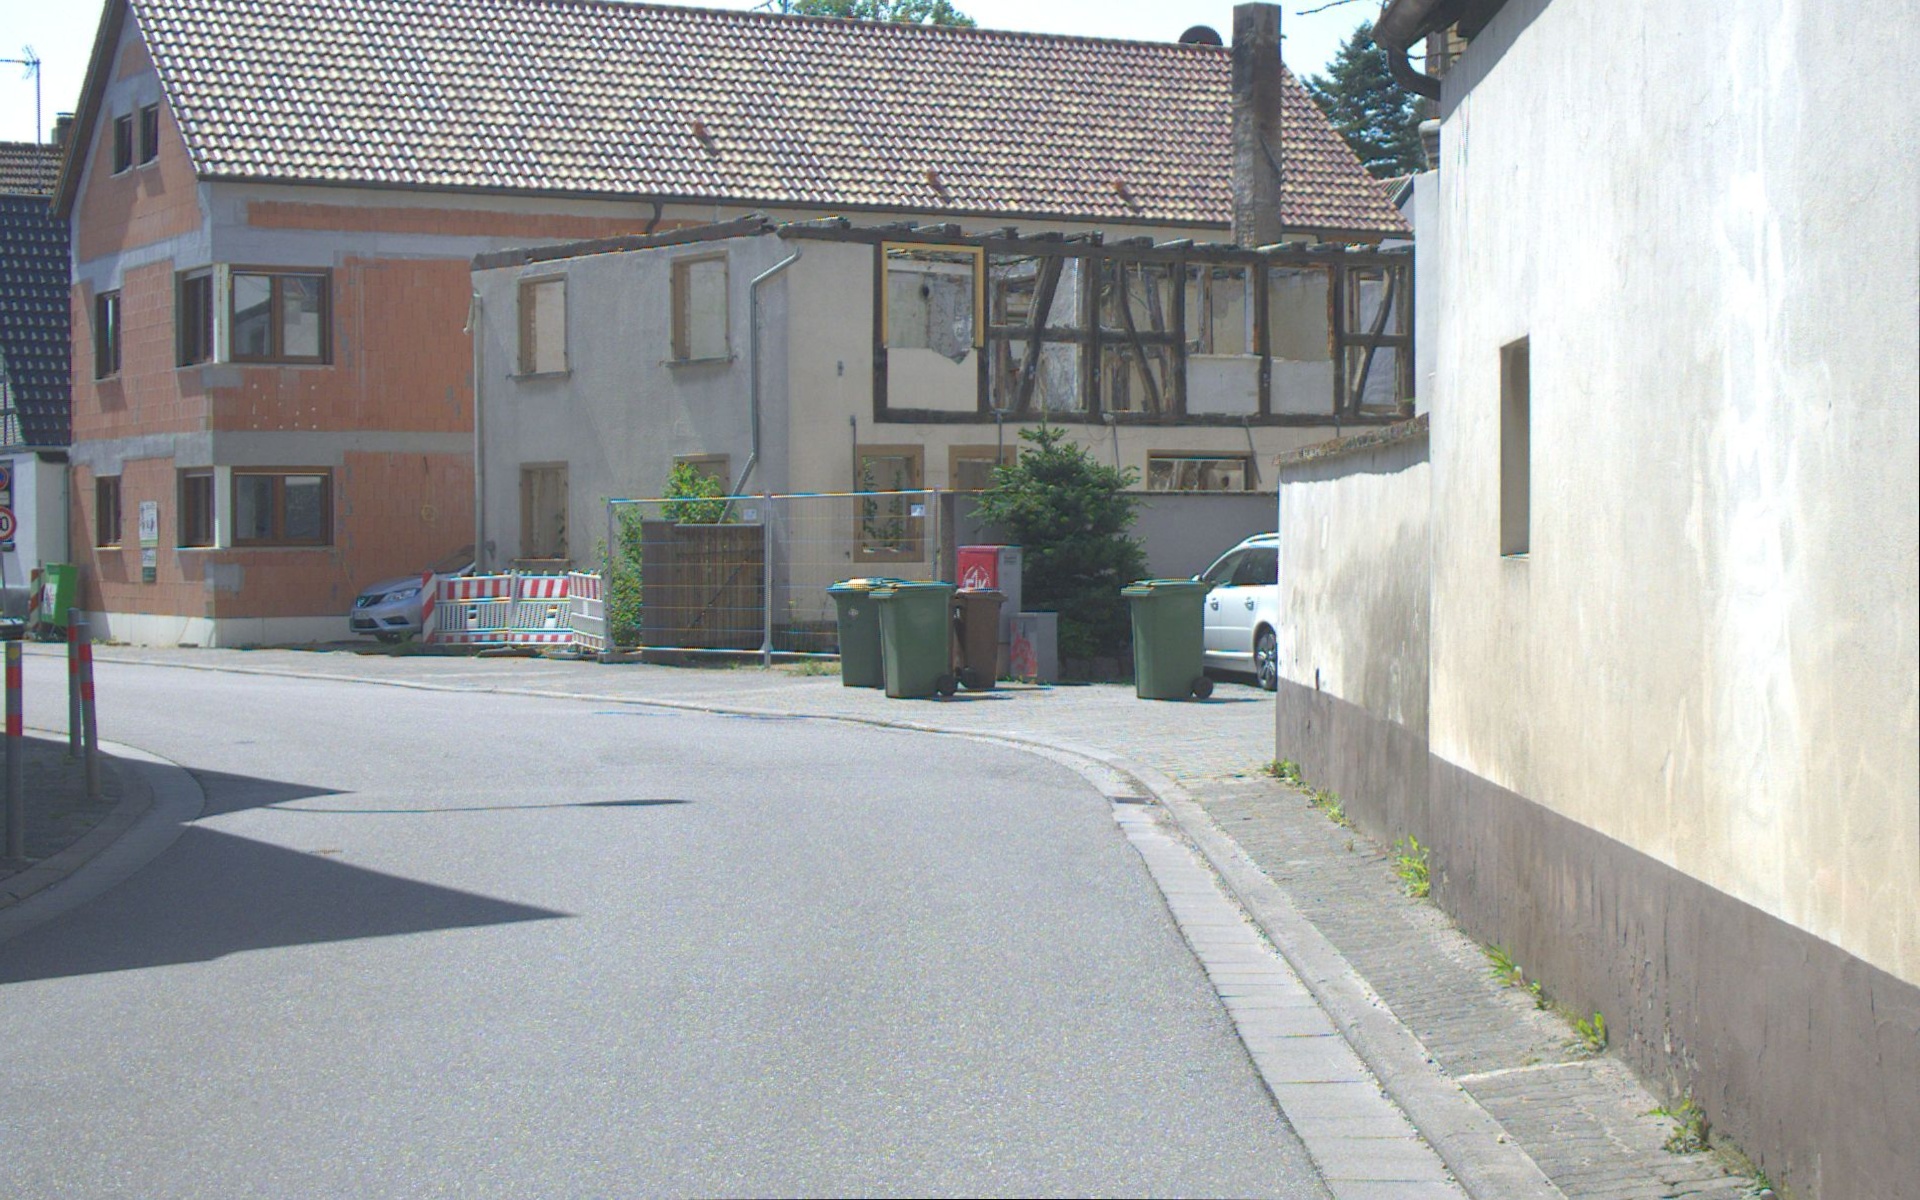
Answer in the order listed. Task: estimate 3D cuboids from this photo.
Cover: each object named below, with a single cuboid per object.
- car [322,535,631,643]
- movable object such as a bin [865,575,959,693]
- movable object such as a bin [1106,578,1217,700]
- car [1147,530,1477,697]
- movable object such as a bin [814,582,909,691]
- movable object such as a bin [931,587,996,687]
[{"bbox_3d":[-7.087,-0.194,50.557,4.089,1.502,1.870,-1,1,-36],"label":"car"},{"bbox_3d":[-0.452,0.310,32.358,0.686,1.088,0.638,0,1,-23],"label":"movable object such as a bin"},{"bbox_3d":[1.830,0.349,31.280,0.720,1.077,0.755,0,1,-26],"label":"movable object such as a bin"},{"bbox_3d":[3.395,0.076,34.049,1.810,1.523,4.298,0,1,-15],"label":"car"},{"bbox_3d":[-0.988,0.363,34.612,0.671,1.068,0.760,1,1,27],"label":"movable object such as a bin"},{"bbox_3d":[0.033,0.361,33.709,0.465,0.967,0.496,0,1,-23],"label":"movable object such as a bin"}]
